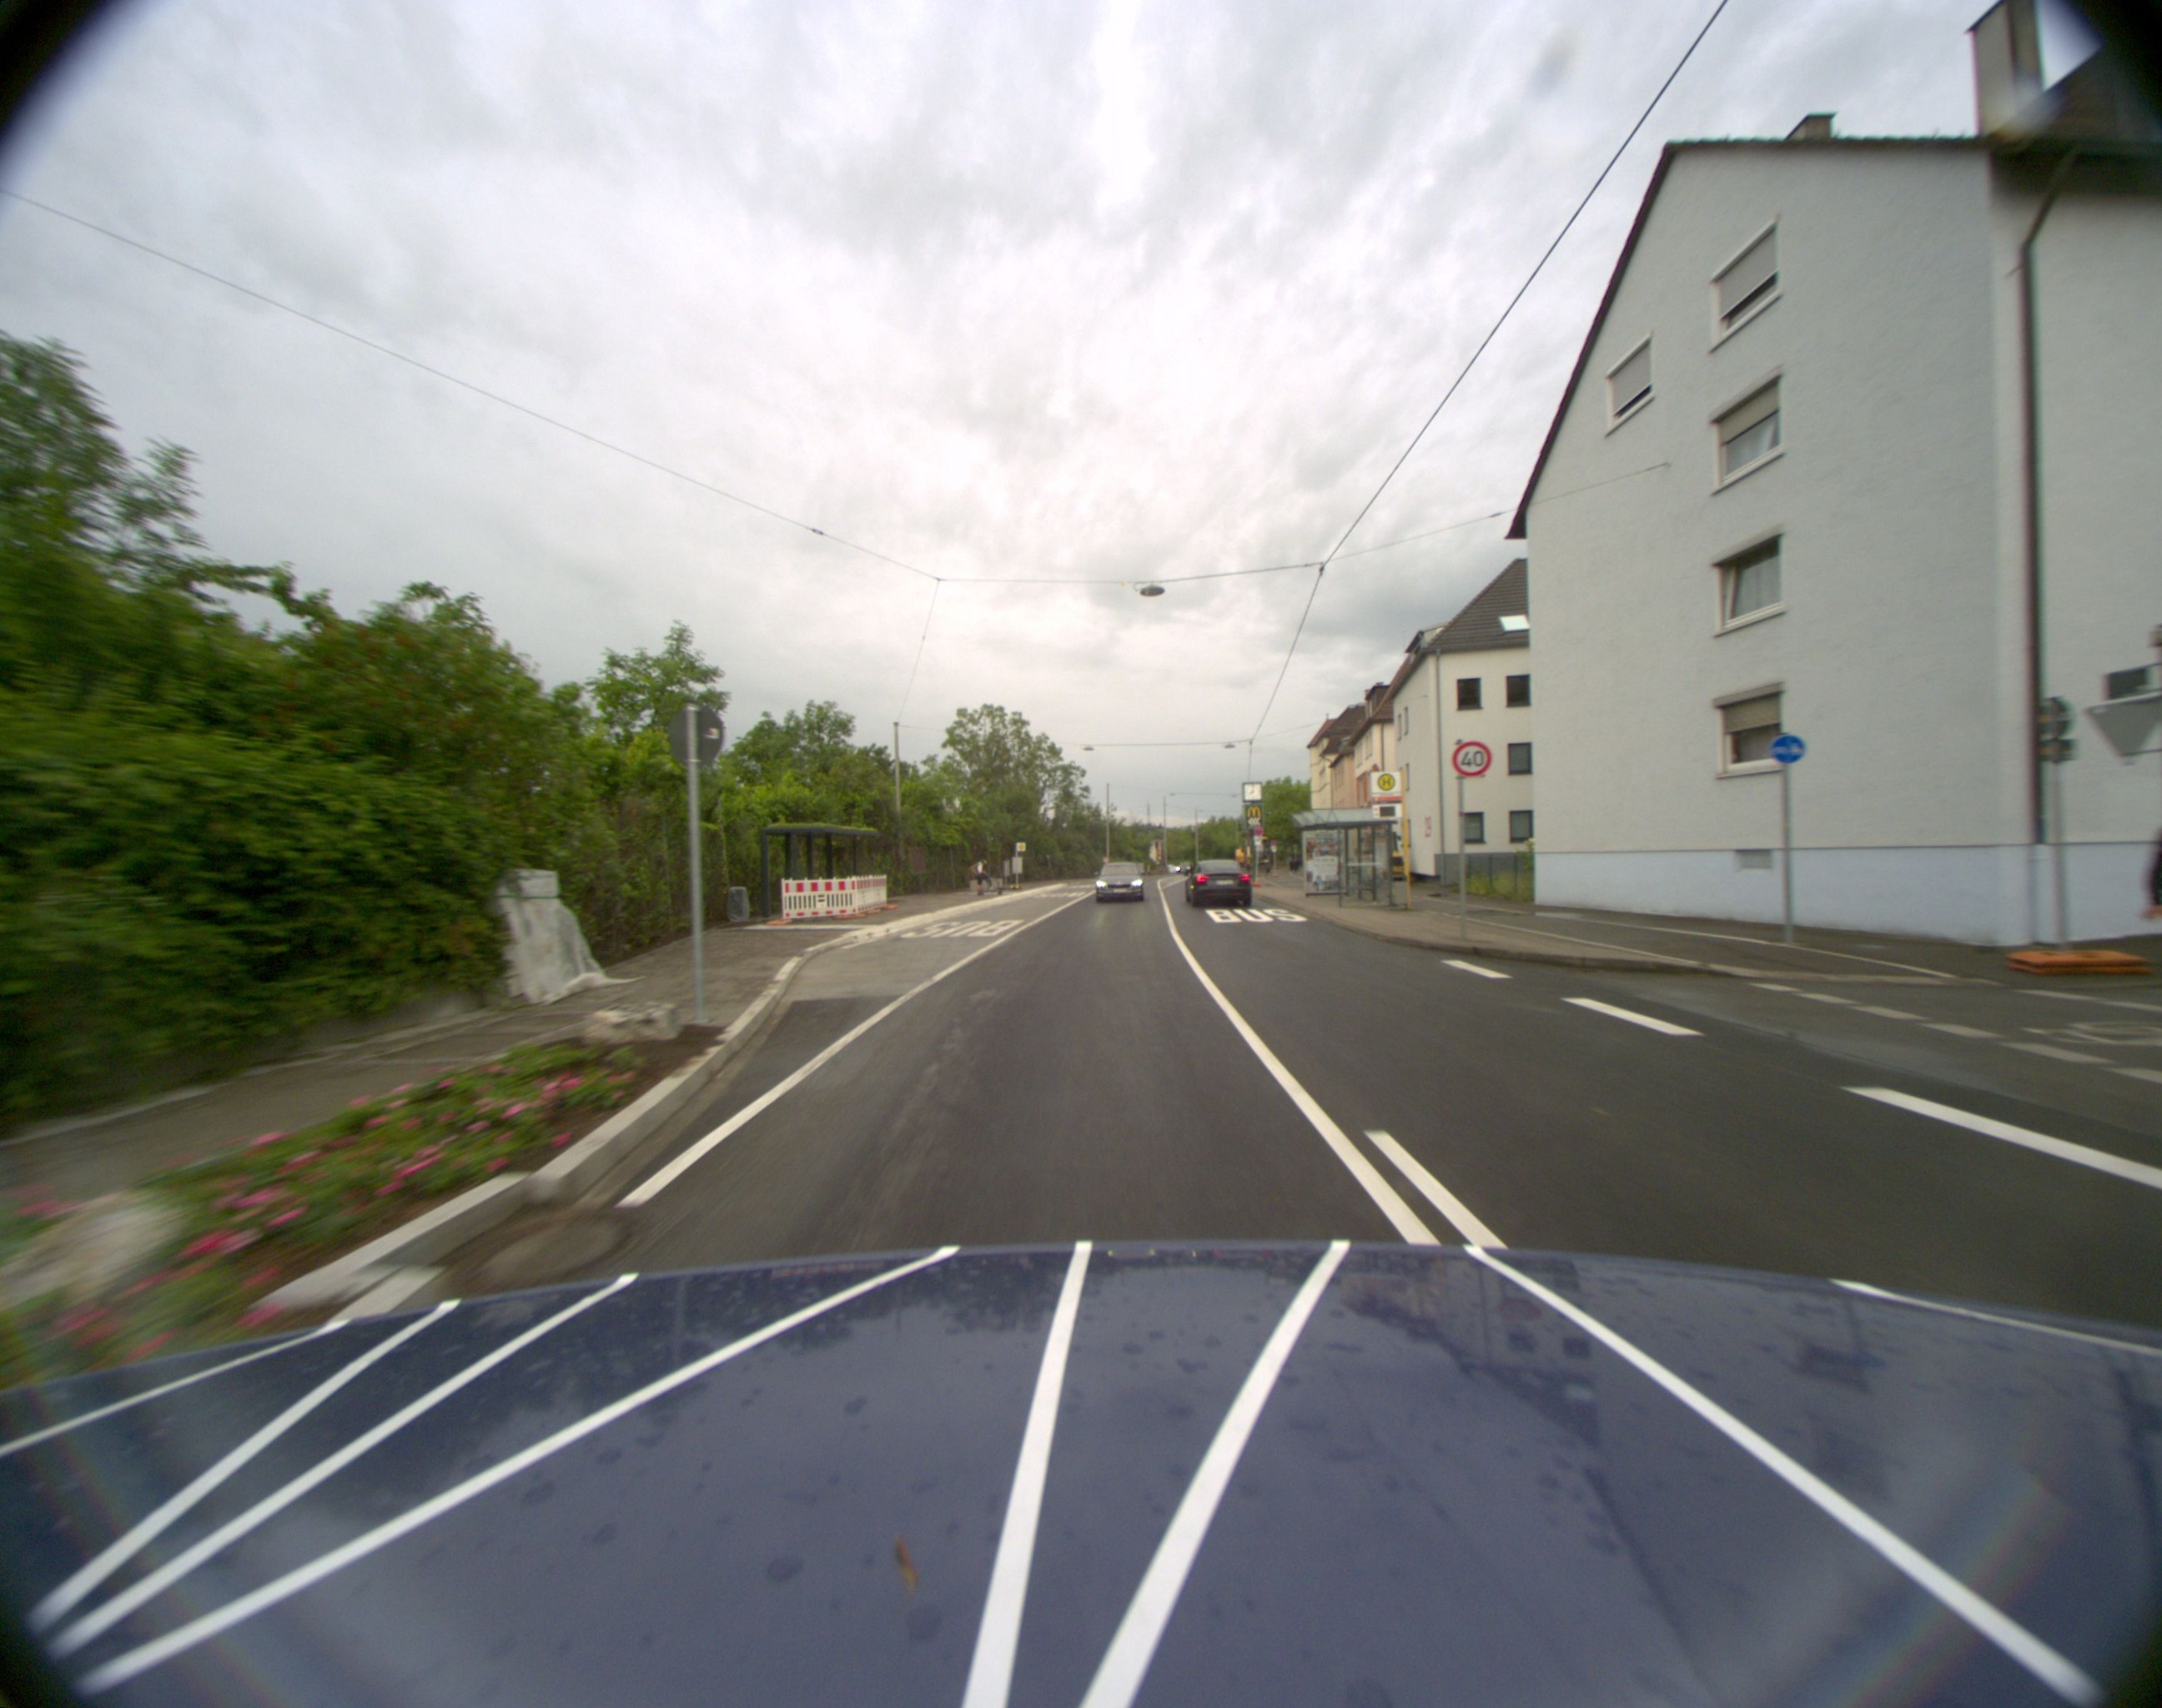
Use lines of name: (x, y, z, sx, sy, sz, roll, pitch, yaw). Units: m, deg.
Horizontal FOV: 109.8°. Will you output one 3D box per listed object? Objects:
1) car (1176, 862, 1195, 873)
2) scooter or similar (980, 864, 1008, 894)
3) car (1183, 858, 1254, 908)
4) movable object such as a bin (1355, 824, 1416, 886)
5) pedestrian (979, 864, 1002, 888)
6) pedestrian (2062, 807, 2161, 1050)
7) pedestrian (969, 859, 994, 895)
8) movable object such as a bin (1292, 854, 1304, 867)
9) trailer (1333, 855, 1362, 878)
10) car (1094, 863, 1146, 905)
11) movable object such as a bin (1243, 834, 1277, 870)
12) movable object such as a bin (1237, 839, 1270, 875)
car: (13.008, 1.629, 94.309, 1.604, 1.294, 3.718, -3, -1, 19)
scooter or similar: (-3.933, 1.131, 34.237, 1.245, 1.307, 0.231, -2, 0, -34)
car: (4.392, 0.875, 24.901, 1.787, 1.444, 4.391, -1, 0, 4)
movable object such as a bin: (15.210, 0.074, 38.213, 2.132, 2.790, 4.984, -3, -1, 15)
pedestrian: (-5.169, 1.240, 43.359, 1.069, 1.322, 0.808, -2, 0, -31)
pedestrian: (8.730, 0.565, 5.889, 0.864, 1.871, 1.044, -1, 0, -1)
pedestrian: (-4.480, 1.025, 34.188, 0.922, 1.538, 0.543, -2, 1, -31)
movable object such as a bin: (23.473, 0.708, 82.230, 1.159, 1.294, 1.249, -1, 0, 19)
trailer: (17.440, 0.814, 49.825, 1.326, 1.390, 4.000, -2, -1, 14)
car: (1.540, 1.096, 29.350, 1.836, 1.429, 4.002, -2, -1, 4)
movable object such as a bin: (20.362, -0.232, 86.070, 2.951, 3.820, 8.139, -2, -1, 19)
movable object such as a bin: (15.922, 0.285, 70.132, 2.828, 3.094, 4.639, -1, -1, 13)
